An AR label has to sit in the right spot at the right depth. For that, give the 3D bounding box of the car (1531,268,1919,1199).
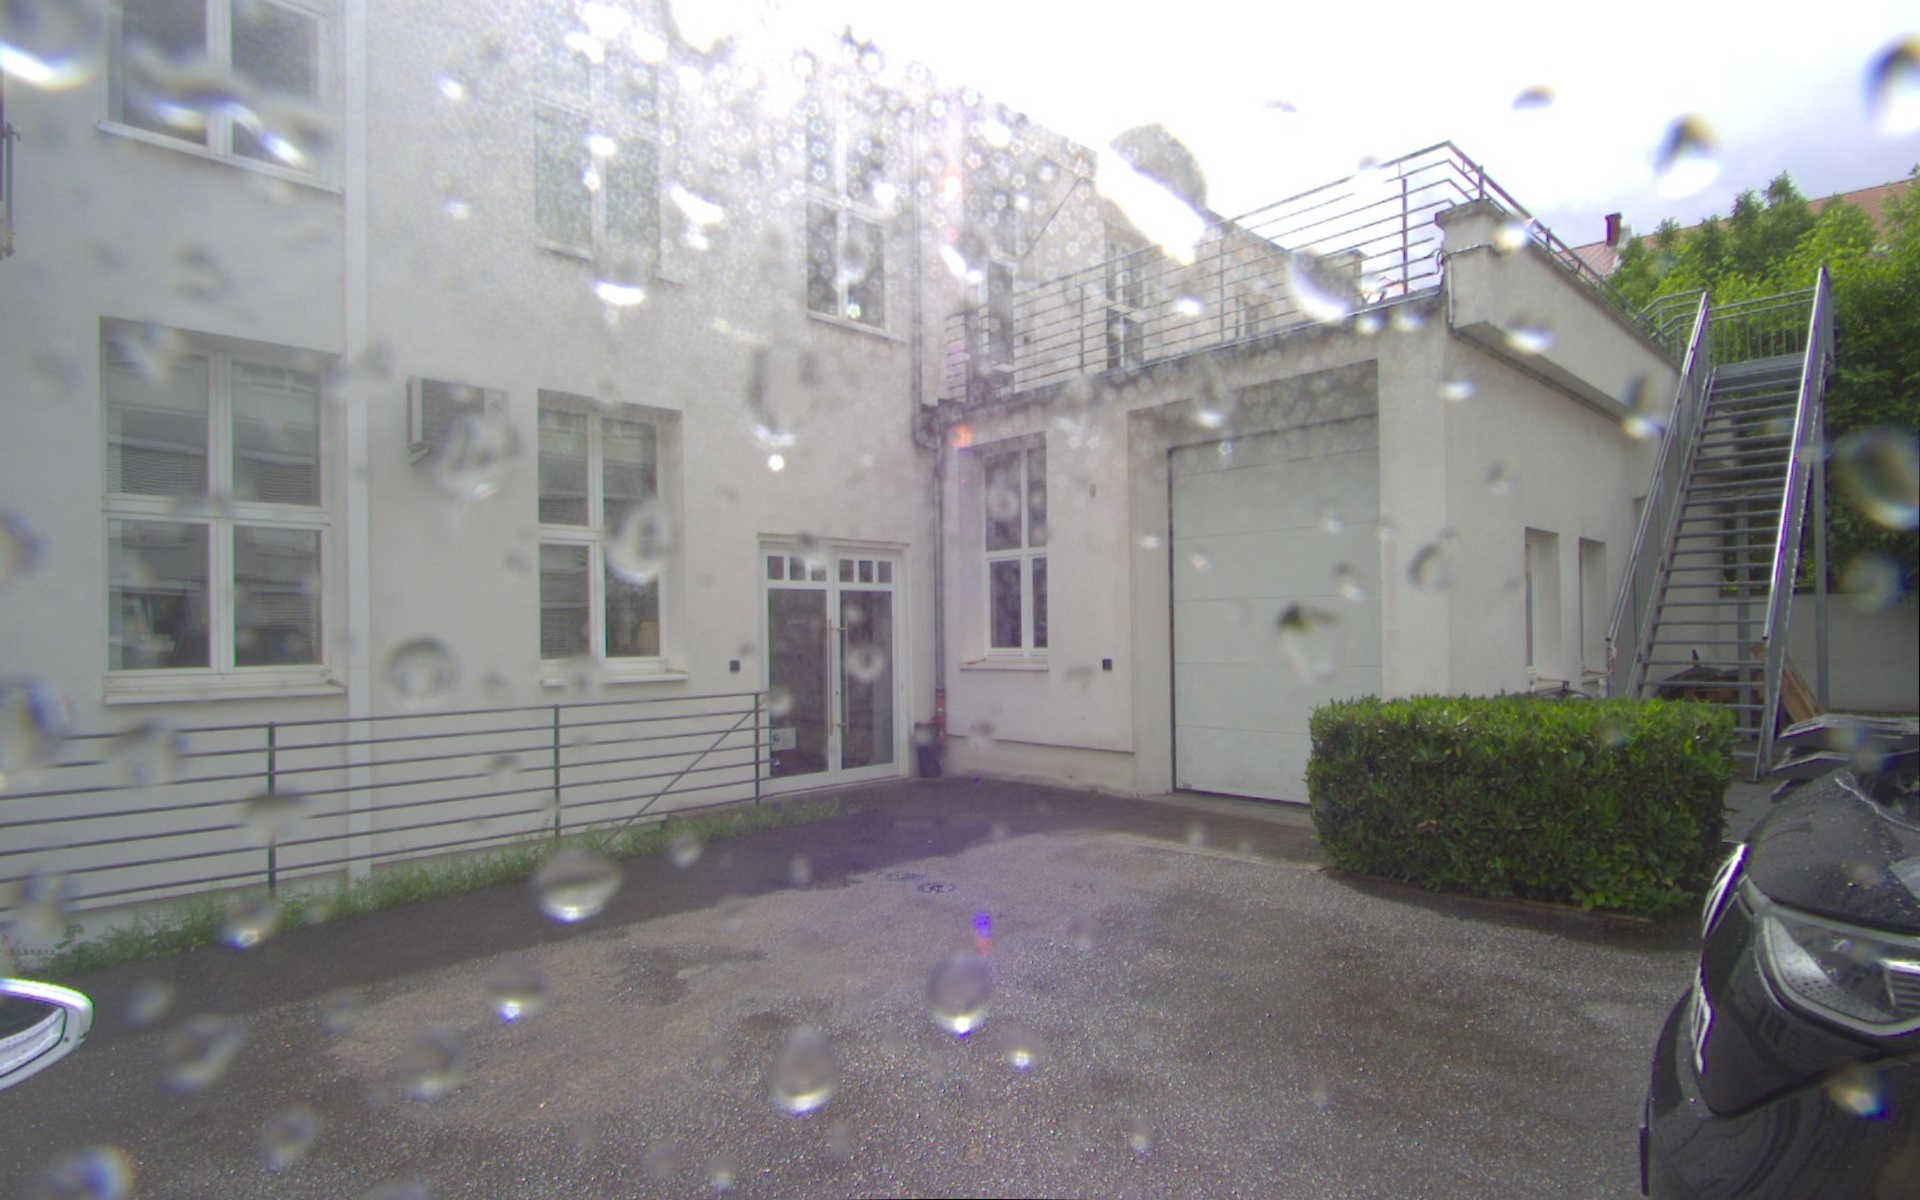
[{"bbox_3d":[3.187,0.514,0.570,4.692,1.888,1.956,-3,-3,39],"label":"car"}]
